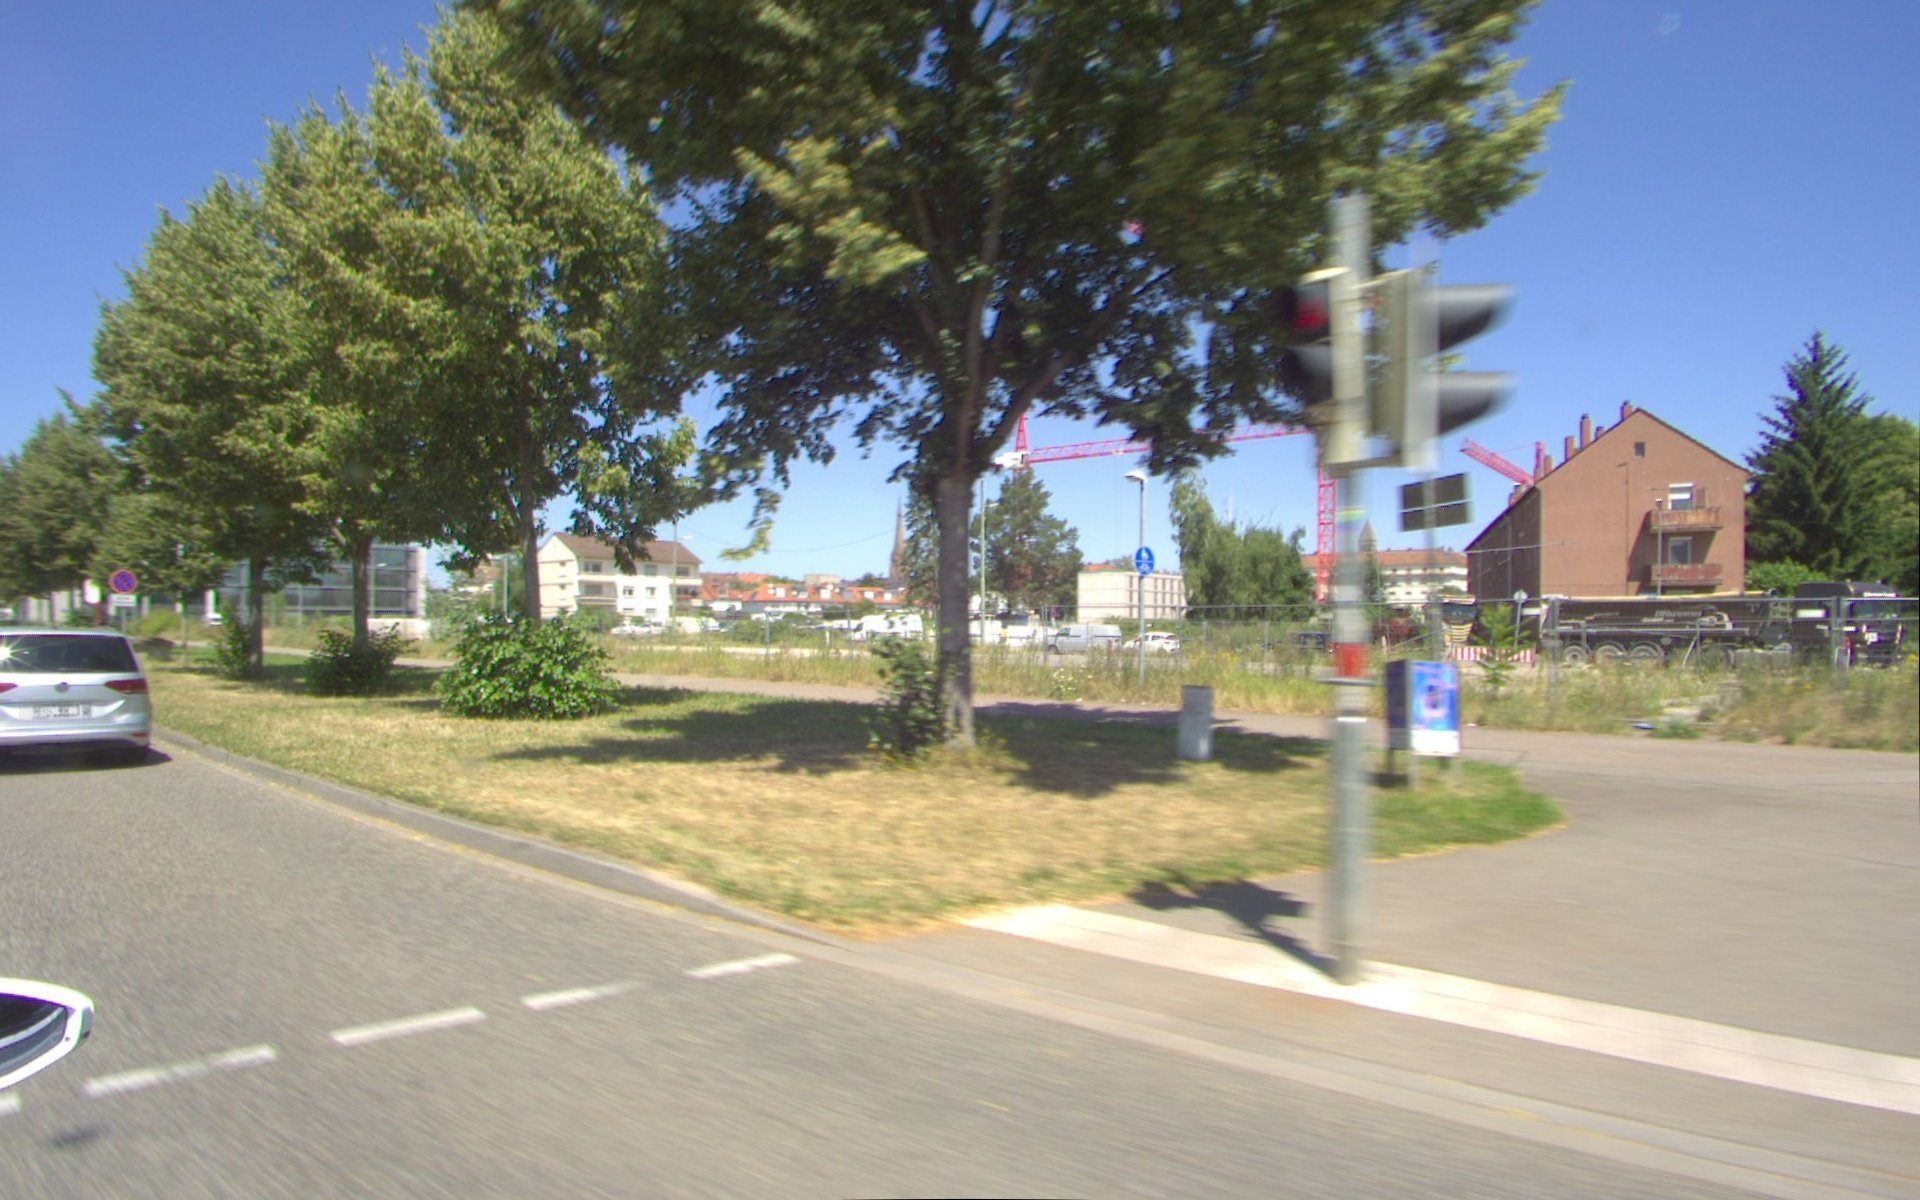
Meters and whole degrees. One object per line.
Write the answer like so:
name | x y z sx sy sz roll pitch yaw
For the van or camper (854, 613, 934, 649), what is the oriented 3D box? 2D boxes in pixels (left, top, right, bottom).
van or camper | -5.153 2.366 77.278 6.923 2.635 1.914 -1 -1 42

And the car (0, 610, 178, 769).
car | -11.462 1.037 12.525 4.553 1.669 1.793 -2 -4 41

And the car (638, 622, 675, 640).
car | -29.412 3.016 96.984 3.579 1.606 1.668 -2 -1 39

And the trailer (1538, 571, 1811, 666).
trailer | 29.684 0.800 42.031 3.131 3.578 8.914 1 -2 -41

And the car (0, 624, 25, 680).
car | -27.076 1.396 27.491 4.904 1.455 1.841 -1 -2 44

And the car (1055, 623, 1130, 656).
car | 8.625 2.534 65.287 4.620 2.040 1.774 -1 -1 36

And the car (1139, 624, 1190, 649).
car | 12.616 2.244 61.848 2.760 1.424 1.406 0 1 43

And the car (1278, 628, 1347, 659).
car | 19.404 2.366 55.178 3.382 1.634 1.358 -1 -1 44

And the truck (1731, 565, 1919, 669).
truck | 32.330 0.666 37.231 3.109 3.578 4.956 1 -1 -17
